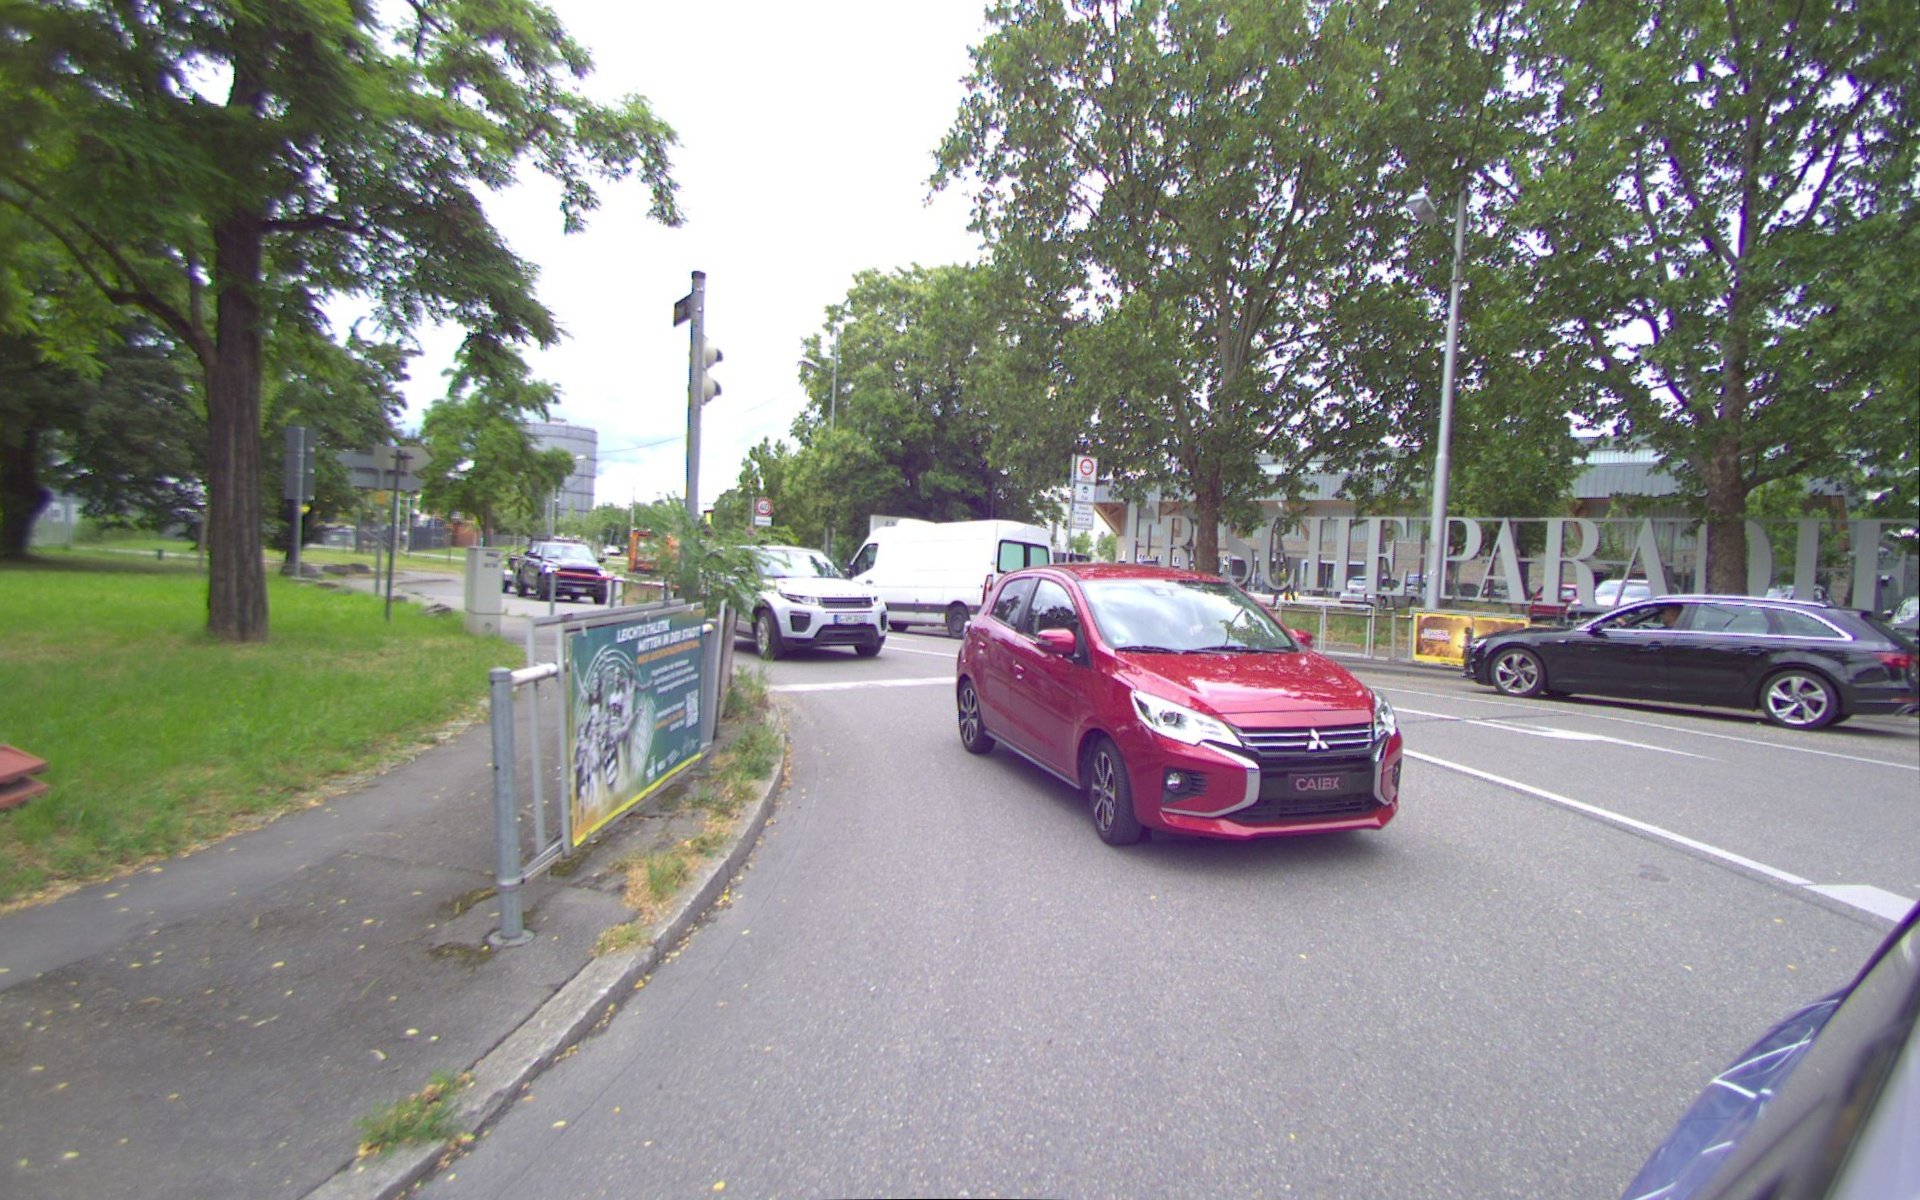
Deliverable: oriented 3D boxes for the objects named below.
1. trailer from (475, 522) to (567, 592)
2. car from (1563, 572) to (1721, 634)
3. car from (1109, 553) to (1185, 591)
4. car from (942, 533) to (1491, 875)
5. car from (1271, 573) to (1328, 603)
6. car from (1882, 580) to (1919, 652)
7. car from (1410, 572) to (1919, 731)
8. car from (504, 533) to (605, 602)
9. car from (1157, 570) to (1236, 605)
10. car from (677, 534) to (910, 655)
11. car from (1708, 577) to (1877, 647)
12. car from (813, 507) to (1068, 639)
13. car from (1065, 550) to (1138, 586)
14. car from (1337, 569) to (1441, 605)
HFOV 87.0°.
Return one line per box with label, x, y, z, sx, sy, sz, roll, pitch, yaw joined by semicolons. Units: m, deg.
trailer;-16.747;-1.672;38.420;2.110;2.416;5.391;2;2;-35
car;17.679;0.048;26.163;4.613;1.476;1.999;-1;0;-37
car;9.587;-1.399;51.775;1.912;1.721;3.936;5;3;44
car;1.263;0.409;6.630;1.731;1.549;3.749;1;2;-18
car;19.854;-0.695;59.120;1.749;1.705;3.514;0;0;45
car;21.483;0.302;21.732;4.619;1.476;1.997;-1;1;-41
car;8.619;0.493;12.502;1.966;1.475;5.212;2;1;-42
car;-13.624;-1.151;33.734;1.913;2.003;5.875;0;4;-34
car;11.586;-0.600;49.450;1.912;1.526;3.936;5;3;44
car;-2.680;-0.136;15.512;1.881;1.589;4.114;1;1;-36
car;19.412;0.219;23.538;4.613;1.476;1.999;-1;0;-37
car;-0.664;-0.558;22.889;2.155;2.573;6.473;0;0;-41
car;7.654;-1.716;54.538;1.912;1.721;3.936;5;3;44
car;18.083;-0.549;42.539;5.159;1.449;1.936;-1;1;-40
